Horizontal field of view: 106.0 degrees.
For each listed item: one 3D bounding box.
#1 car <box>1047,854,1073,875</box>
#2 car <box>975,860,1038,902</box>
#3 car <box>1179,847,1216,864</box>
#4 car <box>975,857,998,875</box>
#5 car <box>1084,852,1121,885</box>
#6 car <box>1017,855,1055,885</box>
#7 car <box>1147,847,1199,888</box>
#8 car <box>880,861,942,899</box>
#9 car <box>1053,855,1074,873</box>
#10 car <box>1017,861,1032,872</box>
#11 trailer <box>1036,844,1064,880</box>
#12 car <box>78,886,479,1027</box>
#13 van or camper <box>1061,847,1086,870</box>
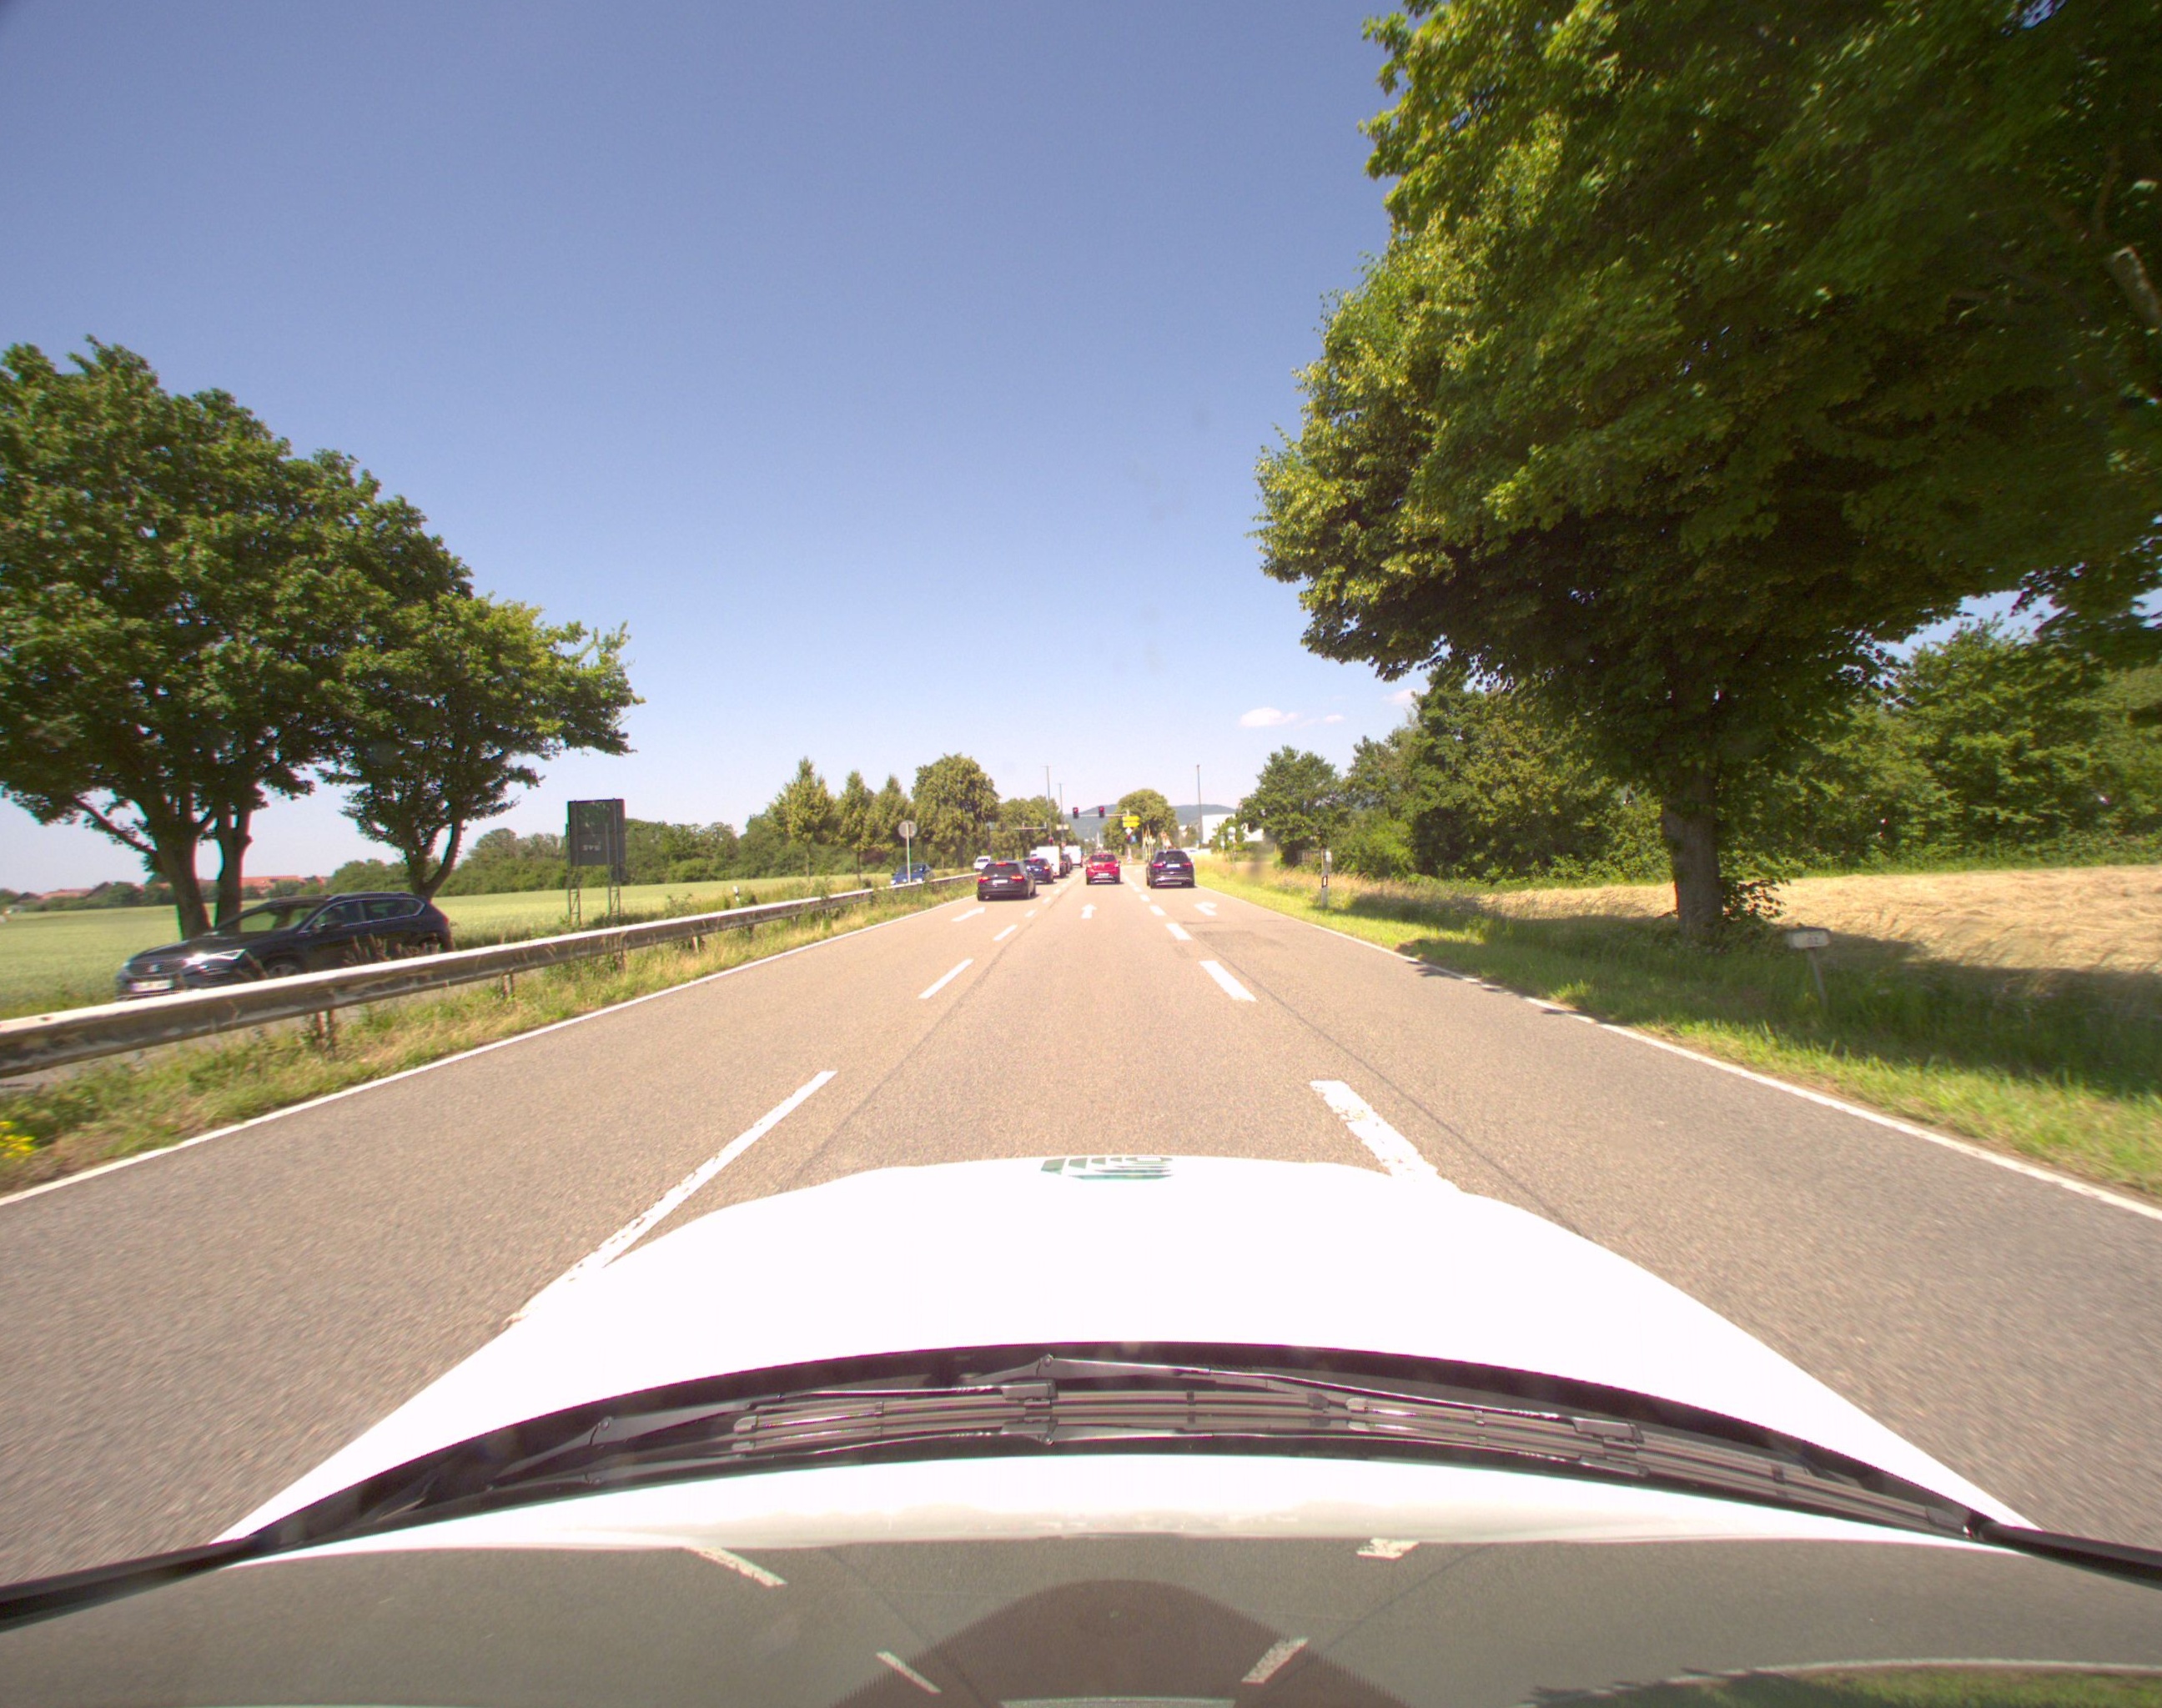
[{"bbox_3d":[-1.645,0.800,64.549,1.716,1.575,3.894,-2,0,2],"label":"car"},{"bbox_3d":[-2.641,0.937,29.973,1.734,1.380,4.457,-2,0,2],"label":"car"},{"bbox_3d":[14.770,0.209,103.538,4.471,1.868,1.887,-3,0,3],"label":"car"},{"bbox_3d":[-11.113,1.426,95.994,1.987,1.951,4.831,-3,0,1],"label":"car"},{"bbox_3d":[1.135,0.725,41.381,1.742,1.576,3.679,-1,0,3],"label":"car"},{"bbox_3d":[-2.388,0.827,43.866,1.711,1.465,4.031,-2,0,1],"label":"car"},{"bbox_3d":[3.946,0.555,35.622,1.985,1.616,4.343,-2,0,3],"label":"car"},{"bbox_3d":[-8.395,1.227,40.588,1.987,1.662,4.481,-3,0,1],"label":"car"},{"bbox_3d":[-1.634,0.965,77.844,1.718,1.600,3.957,-3,0,2],"label":"car"},{"bbox_3d":[-8.702,1.936,126.558,1.872,1.454,4.505,-3,0,1],"label":"car"},{"bbox_3d":[-1.979,0.497,53.331,1.495,2.173,4.175,-3,0,1],"label":"trailer"},{"bbox_3d":[-12.542,1.474,13.287,1.987,1.662,4.481,-2,0,1],"label":"car"},{"bbox_3d":[-0.783,0.460,88.957,2.169,2.302,4.833,-3,0,5],"label":"van or camper"}]
